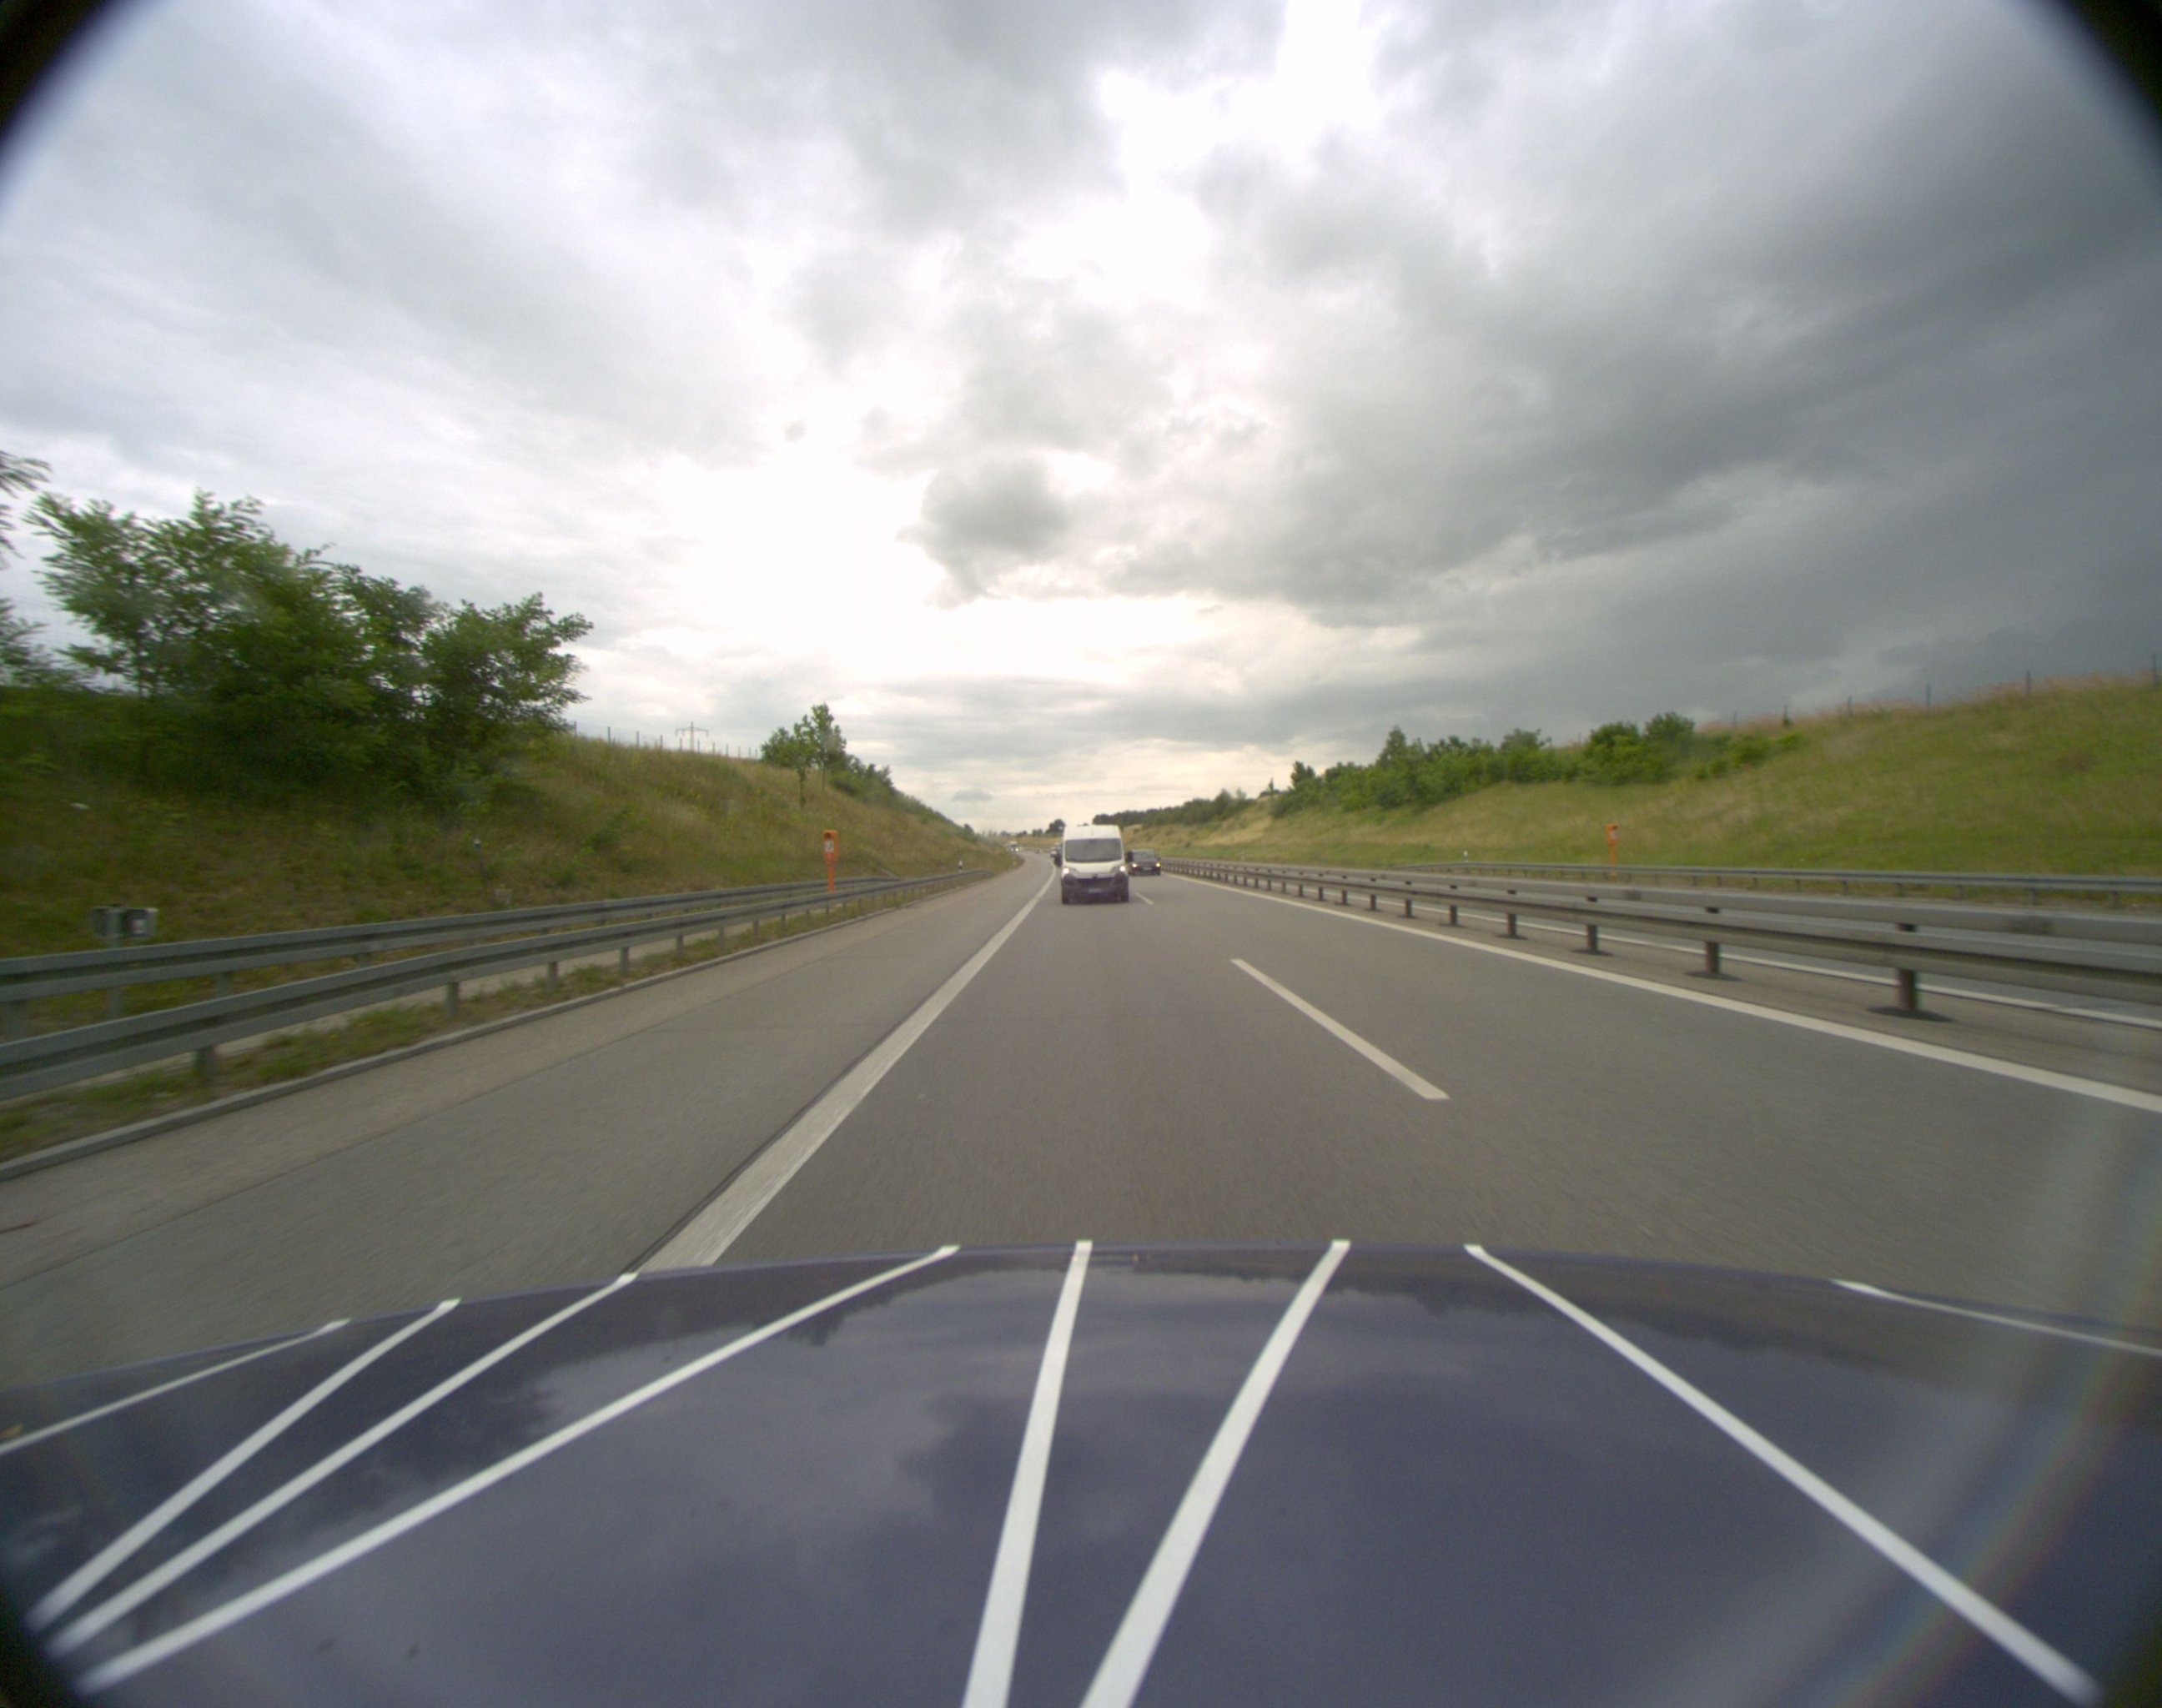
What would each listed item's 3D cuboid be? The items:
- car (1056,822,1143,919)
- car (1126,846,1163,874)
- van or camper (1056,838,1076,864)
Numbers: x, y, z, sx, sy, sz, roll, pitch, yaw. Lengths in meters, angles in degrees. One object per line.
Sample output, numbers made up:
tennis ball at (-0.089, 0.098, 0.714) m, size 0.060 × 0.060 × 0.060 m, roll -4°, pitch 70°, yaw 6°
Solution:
car at (0.443, 0.359, 22.009) m, size 2.132 × 2.412 × 6.110 m, roll -1°, pitch 1°, yaw -1°
car at (3.999, 0.359, 48.527) m, size 1.901 × 1.661 × 5.396 m, roll -1°, pitch 0°, yaw 0°
van or camper at (-1.738, -0.413, 86.017) m, size 2.104 × 2.722 × 6.899 m, roll -2°, pitch 1°, yaw -2°
